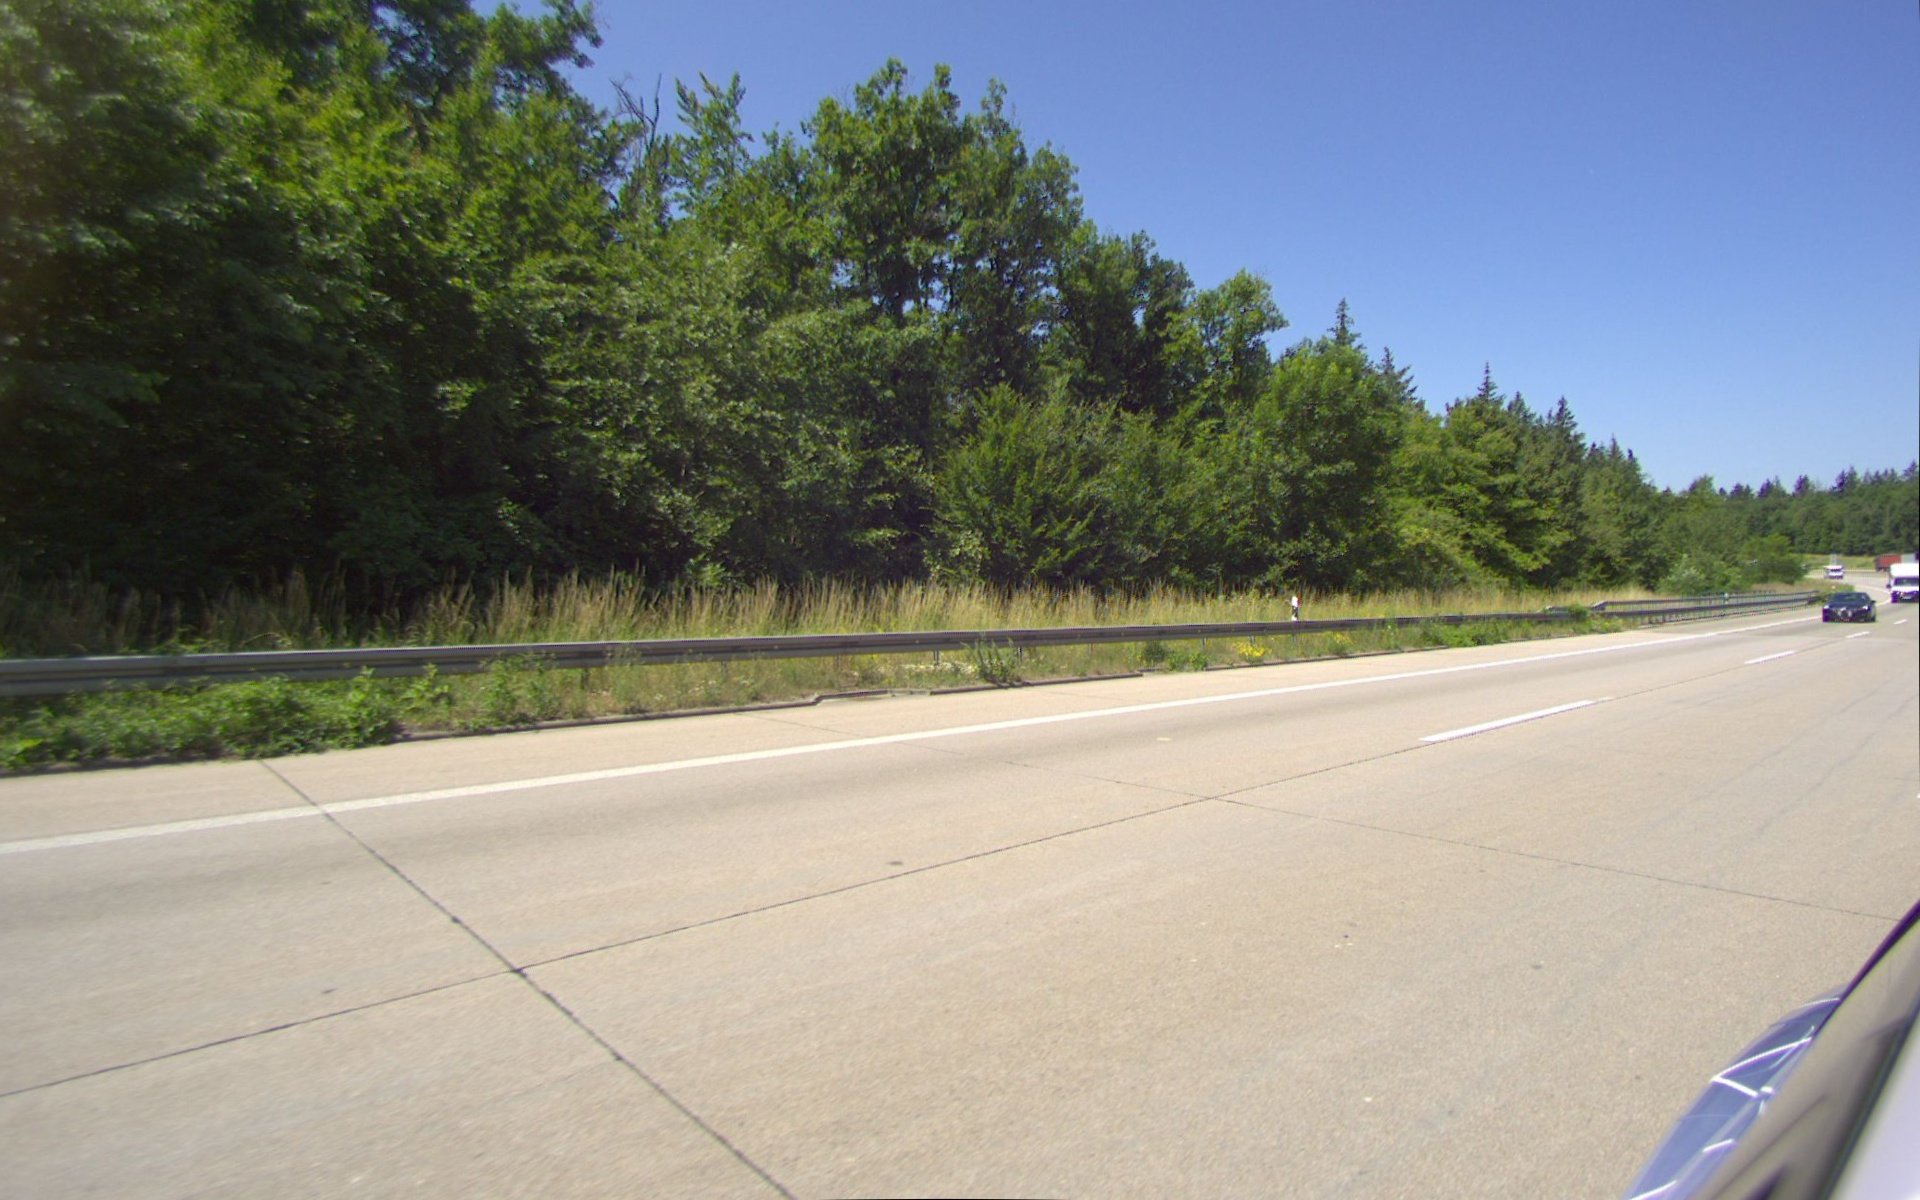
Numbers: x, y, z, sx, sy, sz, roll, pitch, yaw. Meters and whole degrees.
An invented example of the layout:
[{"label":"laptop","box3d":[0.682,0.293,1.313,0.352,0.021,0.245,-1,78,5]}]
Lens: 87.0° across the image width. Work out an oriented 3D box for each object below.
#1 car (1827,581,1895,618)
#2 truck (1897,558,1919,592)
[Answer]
[{"label":"car","box3d":[43.668,-0.036,49.020,4.324,1.725,1.929,-1,0,-42]},{"label":"truck","box3d":[80.997,-2.110,85.239,5.813,2.831,2.481,-1,0,-42]}]
